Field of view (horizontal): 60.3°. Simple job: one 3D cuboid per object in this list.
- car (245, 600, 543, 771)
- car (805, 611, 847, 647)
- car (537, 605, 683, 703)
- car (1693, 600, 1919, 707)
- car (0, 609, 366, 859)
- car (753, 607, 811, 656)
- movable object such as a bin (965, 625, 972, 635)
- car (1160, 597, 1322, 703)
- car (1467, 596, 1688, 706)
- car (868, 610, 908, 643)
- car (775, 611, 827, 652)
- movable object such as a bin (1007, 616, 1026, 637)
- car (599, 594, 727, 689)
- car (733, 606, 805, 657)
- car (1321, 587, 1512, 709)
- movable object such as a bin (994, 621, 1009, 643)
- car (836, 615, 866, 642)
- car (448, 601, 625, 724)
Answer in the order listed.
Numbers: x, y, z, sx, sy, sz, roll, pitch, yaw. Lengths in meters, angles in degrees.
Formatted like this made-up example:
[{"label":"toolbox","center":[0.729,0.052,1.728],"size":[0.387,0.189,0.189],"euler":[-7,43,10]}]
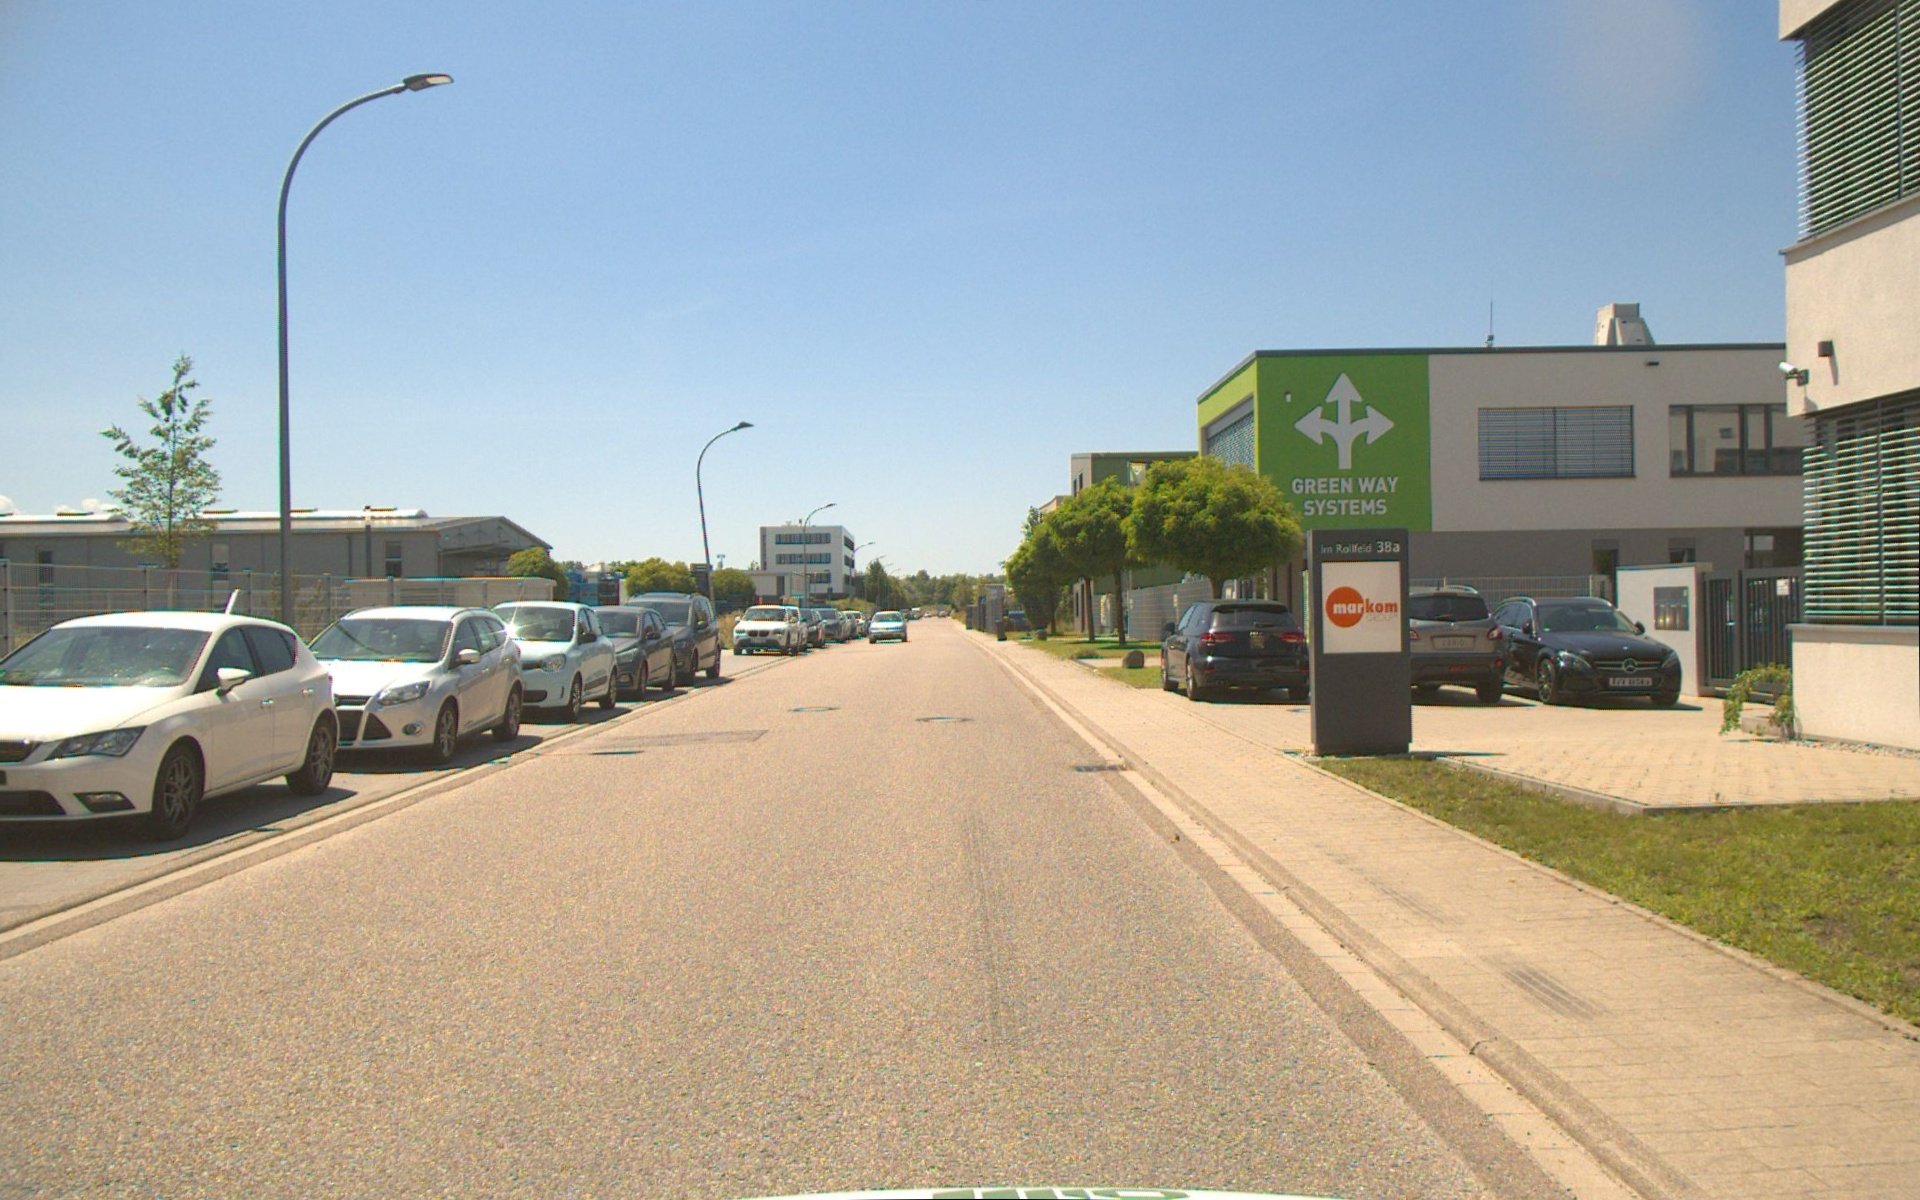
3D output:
[{"label":"car","center":[-5.790,0.804,17.530],"size":[1.668,1.563,4.570],"euler":[1,0,-2]},{"label":"car","center":[-6.420,1.389,79.361],"size":[1.754,1.635,4.461],"euler":[1,-1,-2]},{"label":"car","center":[-5.863,0.870,28.126],"size":[1.601,1.527,3.971],"euler":[1,0,0]},{"label":"car","center":[12.673,0.747,24.622],"size":[1.688,1.461,4.021],"euler":[0,0,-1]},{"label":"car","center":[-5.913,0.808,12.038],"size":[1.668,1.469,4.438],"euler":[1,0,-2]},{"label":"car","center":[-6.282,1.106,58.612],"size":[1.751,1.685,3.767],"euler":[0,-1,-2]},{"label":"movable object such as a bin","center":[0.812,2.911,162.595],"size":[0.541,0.944,0.522],"euler":[-5,0,3]},{"label":"car","center":[4.114,0.699,24.825],"size":[1.658,1.453,4.245],"euler":[0,0,-1]},{"label":"car","center":[8.894,0.700,24.192],"size":[1.688,1.475,4.021],"euler":[0,0,-1]},{"label":"car","center":[-3.353,1.238,77.755],"size":[1.669,1.436,4.783],"euler":[-3,0,-1]},{"label":"car","center":[-6.314,1.253,66.146],"size":[1.727,1.544,4.378],"euler":[1,-1,-1]},{"label":"movable object such as a bin","center":[4.106,1.932,120.913],"size":[1.307,1.485,0.948],"euler":[-1,-1,-2]},{"label":"car","center":[-5.845,0.780,33.065],"size":[1.766,1.750,4.621],"euler":[1,0,-1]},{"label":"car","center":[-6.110,0.990,53.384],"size":[1.750,1.569,4.364],"euler":[0,-1,1]},{"label":"car","center":[6.684,0.666,24.621],"size":[1.688,1.662,4.021],"euler":[0,0,-1]},{"label":"movable object such as a bin","center":[1.878,1.449,74.170],"size":[0.540,0.944,0.522],"euler":[-4,-1,9]},{"label":"car","center":[-6.867,1.789,104.549],"size":[1.733,1.620,4.358],"euler":[1,-1,-2]},{"label":"car","center":[-5.841,0.820,23.205],"size":[1.601,1.563,3.656],"euler":[1,0,-2]}]
